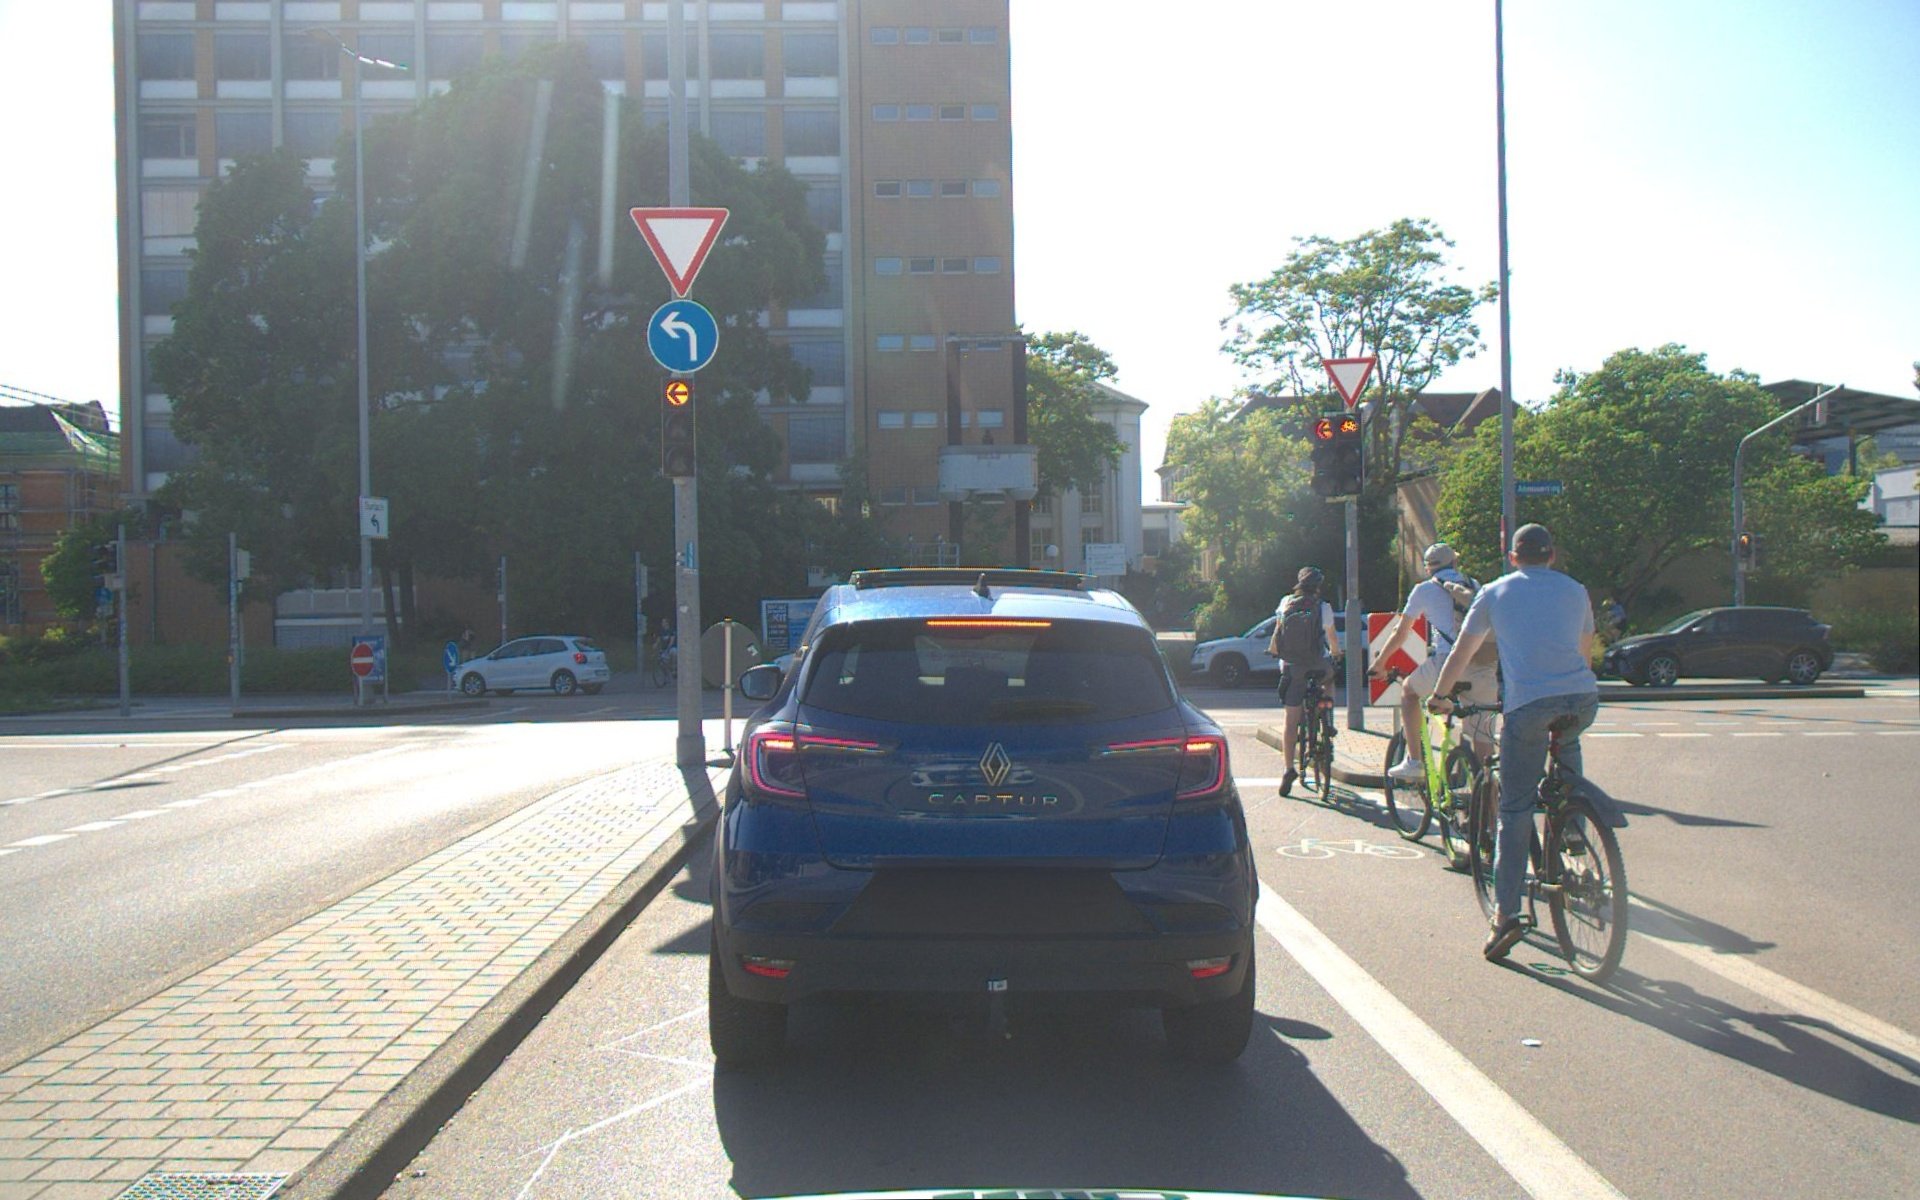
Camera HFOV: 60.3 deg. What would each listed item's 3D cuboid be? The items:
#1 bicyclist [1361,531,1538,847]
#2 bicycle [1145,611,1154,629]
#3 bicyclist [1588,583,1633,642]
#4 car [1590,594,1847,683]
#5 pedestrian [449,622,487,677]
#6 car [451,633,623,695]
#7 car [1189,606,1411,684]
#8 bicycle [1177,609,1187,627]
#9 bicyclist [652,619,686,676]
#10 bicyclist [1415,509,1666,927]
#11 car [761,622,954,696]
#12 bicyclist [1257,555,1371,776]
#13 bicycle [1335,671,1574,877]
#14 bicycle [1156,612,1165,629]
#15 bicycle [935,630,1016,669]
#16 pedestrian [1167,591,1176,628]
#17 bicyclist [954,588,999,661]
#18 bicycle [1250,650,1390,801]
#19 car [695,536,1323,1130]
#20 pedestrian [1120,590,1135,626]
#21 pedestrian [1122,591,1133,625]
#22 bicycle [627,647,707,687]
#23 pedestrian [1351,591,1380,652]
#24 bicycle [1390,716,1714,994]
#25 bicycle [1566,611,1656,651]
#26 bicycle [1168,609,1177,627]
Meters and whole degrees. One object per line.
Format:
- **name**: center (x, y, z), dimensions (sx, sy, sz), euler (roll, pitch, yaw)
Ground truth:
- **bicyclist**: center (2.885, 0.505, 9.838), dimensions (0.633, 1.769, 1.065), euler (1, 0, -6)
- **bicycle**: center (10.795, 1.144, 94.219), dimensions (0.397, 0.990, 1.684), euler (1, 0, 3)
- **bicyclist**: center (16.555, 0.315, 42.084), dimensions (0.916, 1.454, 0.599), euler (-1, 0, 7)
- **car**: center (15.001, 0.758, 32.927), dimensions (4.279, 1.660, 1.846), euler (-1, 0, 9)
- **pedestrian**: center (-14.941, 1.507, 50.254), dimensions (0.842, 1.598, 0.560), euler (-4, 0, 14)
- **car**: center (-10.454, 1.585, 40.947), dimensions (3.754, 1.460, 1.744), euler (-1, -2, 13)
- **car**: center (7.554, 0.997, 37.062), dimensions (4.720, 1.660, 1.846), euler (-1, 0, 9)
- **bicycle**: center (12.681, 1.032, 94.586), dimensions (0.397, 0.990, 1.684), euler (1, 0, 3)
- **bicyclist**: center (-7.670, 1.238, 43.642), dimensions (0.728, 1.466, 0.593), euler (-1, 0, -27)
- **bicyclist**: center (2.511, 0.483, 7.267), dimensions (0.736, 1.698, 1.016), euler (1, 0, 0)
- **car**: center (-2.124, 1.221, 34.731), dimensions (3.754, 1.460, 1.744), euler (-1, 0, 8)
- **bicyclist**: center (2.762, 0.497, 12.972), dimensions (0.711, 1.657, 0.969), euler (1, 0, 3)
- **bicycle**: center (2.874, 0.974, 9.841), dimensions (0.646, 1.020, 1.967), euler (1, 0, -6)
- **bicycle**: center (11.405, 1.155, 94.185), dimensions (0.397, 0.990, 1.684), euler (1, 0, 3)
- **bicycle**: center (0.421, 1.321, 43.982), dimensions (2.037, 0.946, 0.697), euler (-2, 1, 10)
- **pedestrian**: center (11.828, 0.539, 92.559), dimensions (0.465, 2.049, 0.468), euler (-1, 0, 5)
- **bicyclist**: center (0.448, 0.657, 44.001), dimensions (1.078, 1.900, 0.653), euler (-1, -1, 10)
- **bicycle**: center (2.764, 0.932, 12.920), dimensions (0.723, 1.012, 2.174), euler (1, 0, 3)
- **car**: center (0.064, 0.664, 6.678), dimensions (1.767, 1.660, 3.998), euler (1, 0, -3)
- **pedestrian**: center (9.031, 0.425, 89.055), dimensions (0.614, 1.888, 0.560), euler (-1, 0, -18)
- **pedestrian**: center (9.303, 0.442, 91.894), dimensions (0.599, 1.888, 0.467), euler (-1, 0, 5)
- **bicycle**: center (-7.717, 1.762, 43.615), dimensions (1.982, 0.981, 0.593), euler (-1, 0, -28)
- **pedestrian**: center (11.019, 0.589, 44.921), dimensions (0.721, 1.631, 0.599), euler (-1, 0, 12)
- **bicycle**: center (2.506, 1.039, 7.270), dimensions (0.725, 0.911, 1.978), euler (1, 0, 0)
- **bicycle**: center (16.552, 0.787, 42.100), dimensions (2.032, 0.981, 0.599), euler (-1, 0, 8)
- **bicycle**: center (12.156, 1.023, 94.565), dimensions (0.397, 0.990, 1.684), euler (1, 0, 3)
